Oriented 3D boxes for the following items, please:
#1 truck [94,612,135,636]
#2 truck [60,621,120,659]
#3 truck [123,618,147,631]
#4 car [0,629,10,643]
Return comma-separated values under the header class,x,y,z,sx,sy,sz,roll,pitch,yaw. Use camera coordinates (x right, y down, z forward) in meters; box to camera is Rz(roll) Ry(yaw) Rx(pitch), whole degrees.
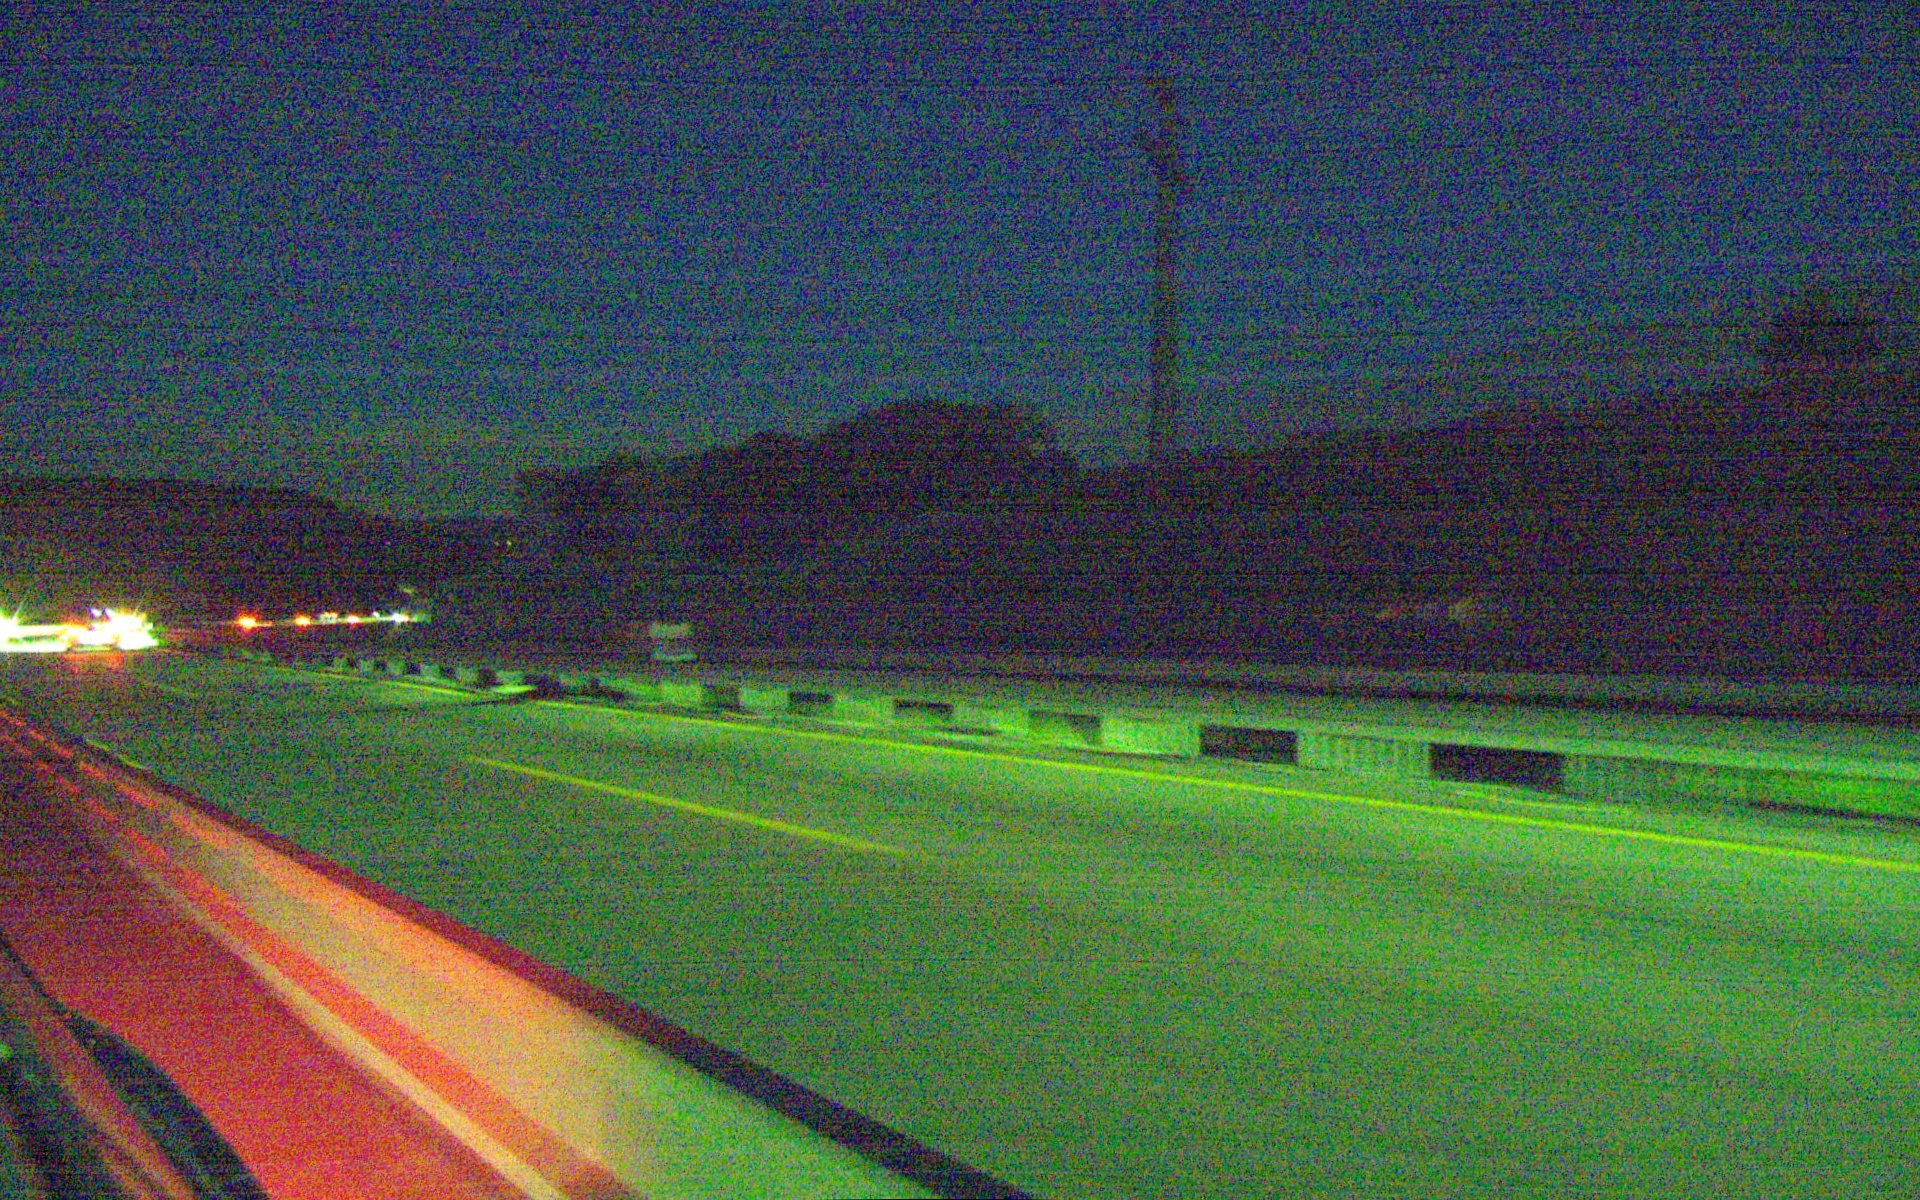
class,x,y,z,sx,sy,sz,roll,pitch,yaw
truck,-160.385,4.485,192.178,2.923,4.307,17.198,1,-1,-29
truck,-37.377,1.678,43.433,1.664,1.481,4.156,-1,1,-45
truck,-157.401,4.641,193.178,2.387,2.443,7.112,1,-2,-31
car,-108.084,4.027,113.448,1.784,1.529,3.944,2,-3,-37
